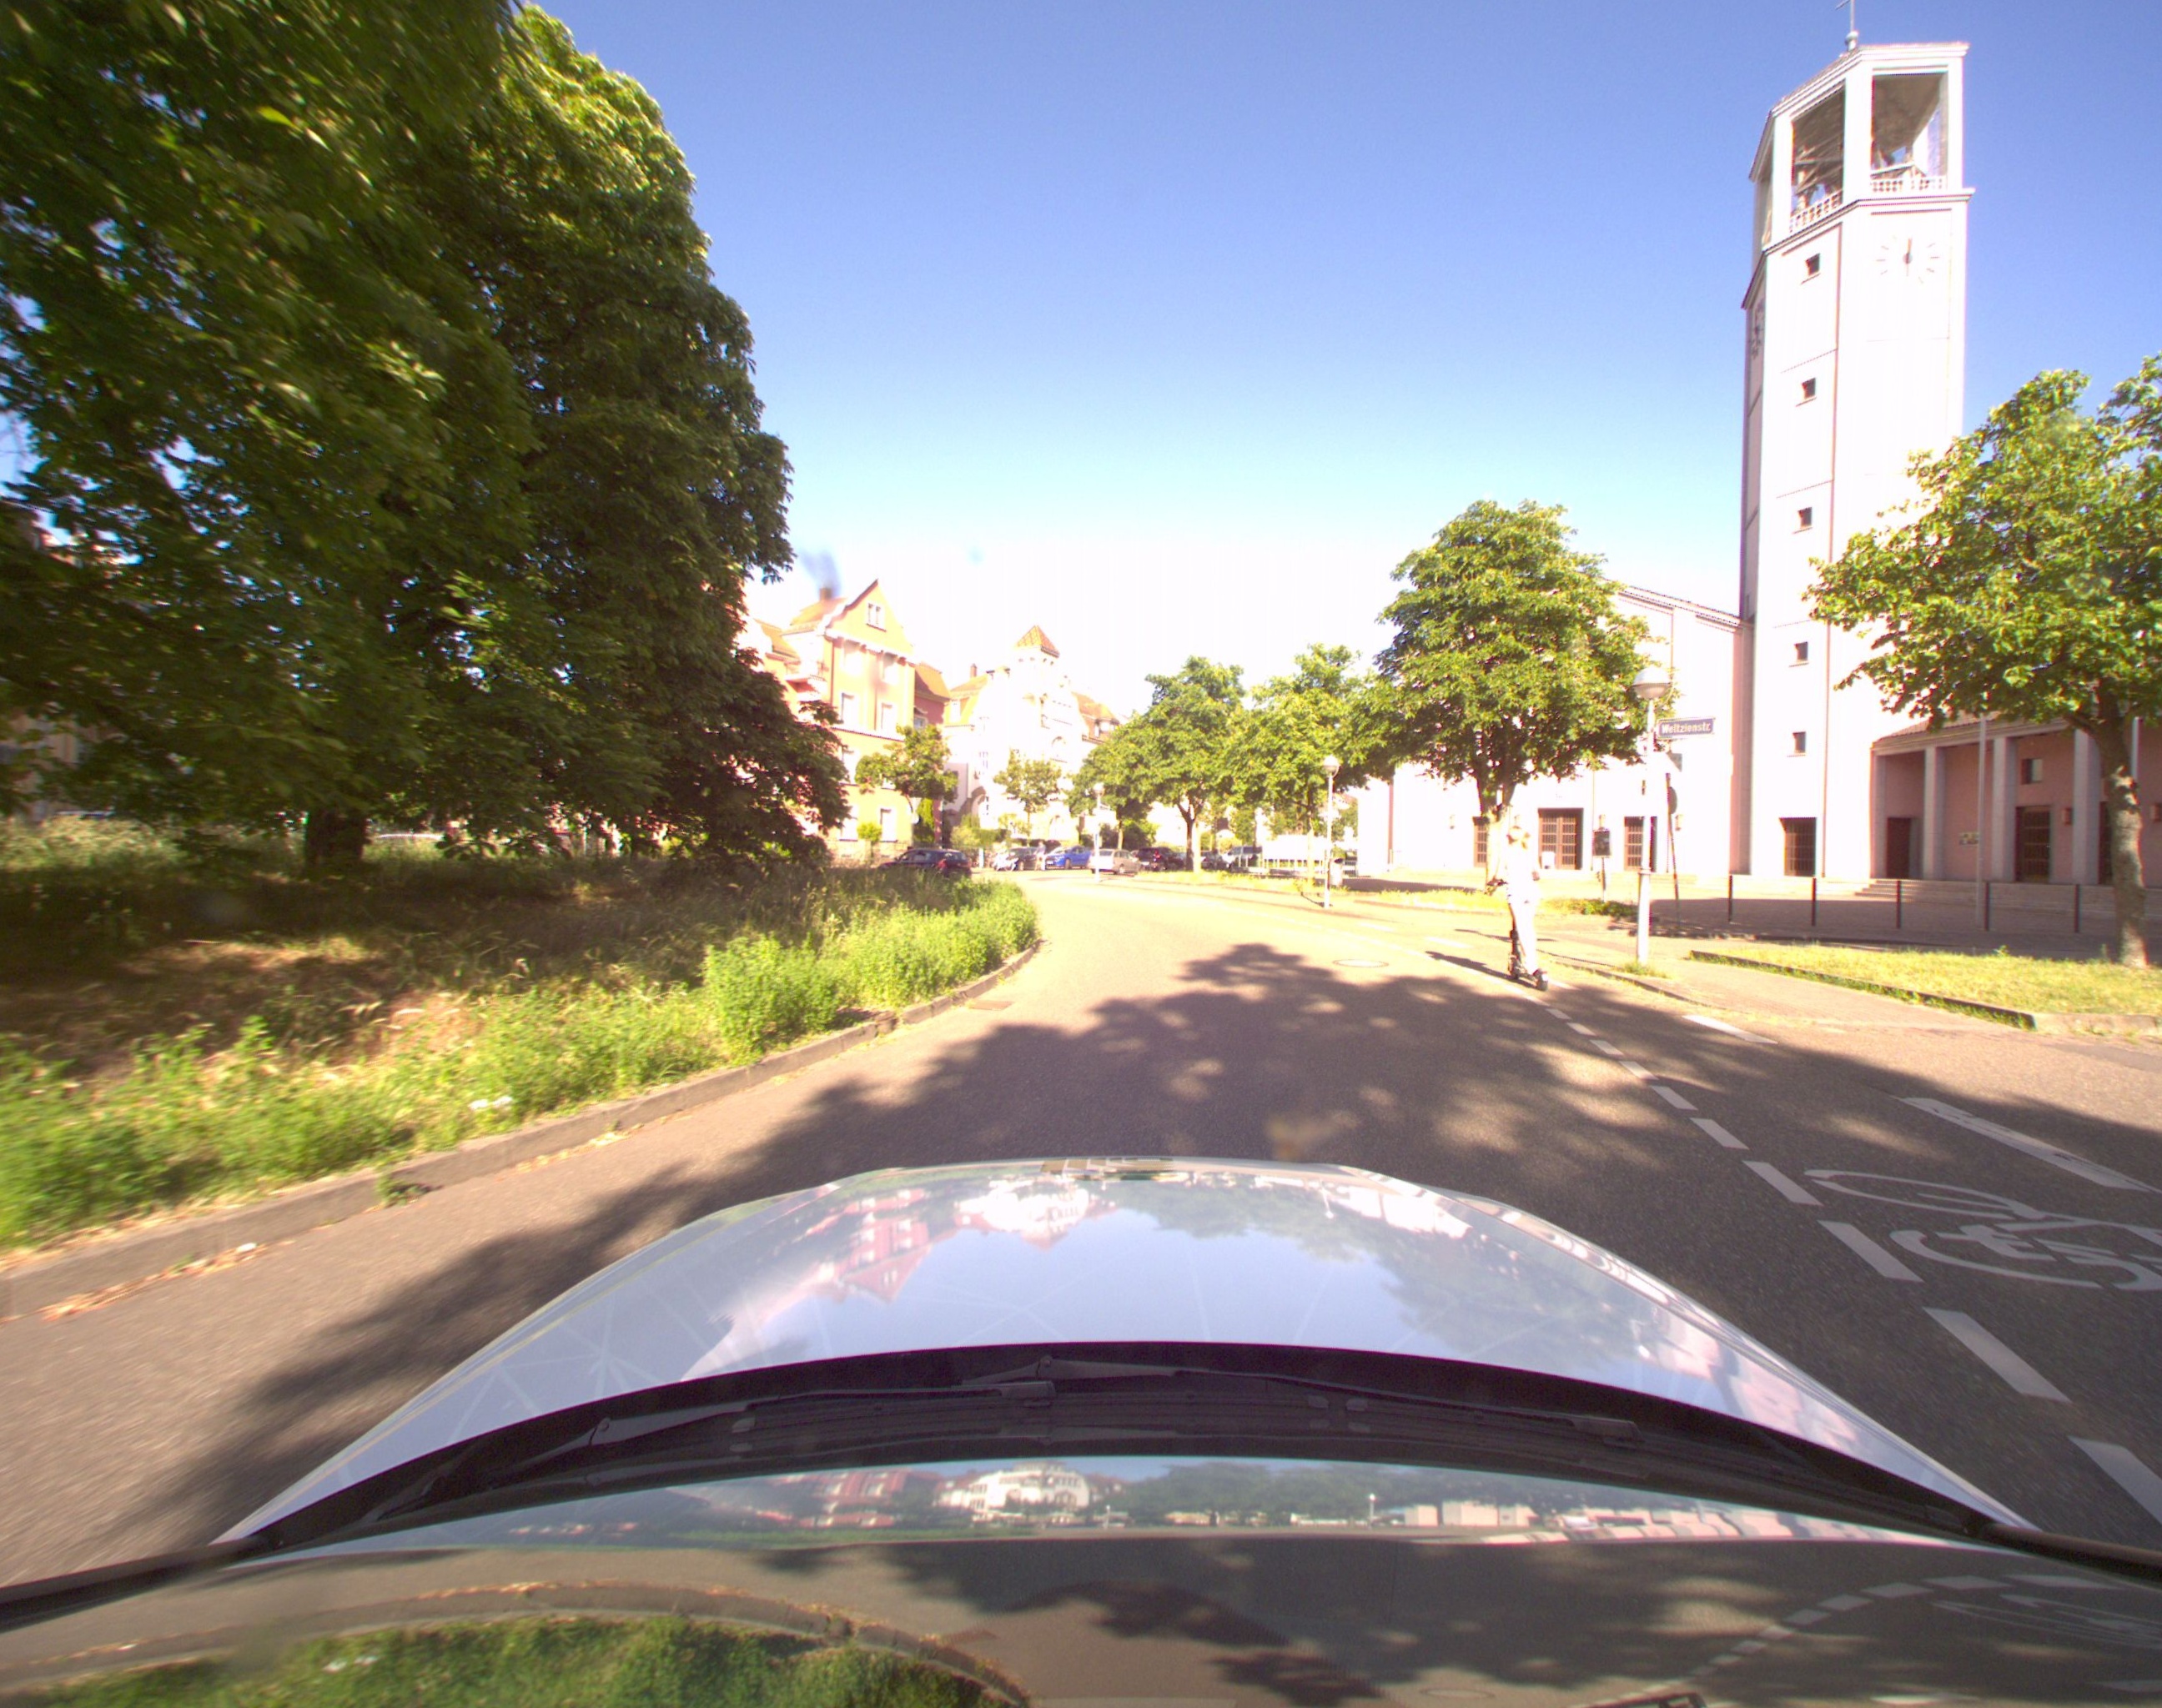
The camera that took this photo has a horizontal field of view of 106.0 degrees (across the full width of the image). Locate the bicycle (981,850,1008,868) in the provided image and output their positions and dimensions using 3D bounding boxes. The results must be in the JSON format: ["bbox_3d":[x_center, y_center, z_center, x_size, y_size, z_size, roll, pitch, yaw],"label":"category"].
[{"bbox_3d":[-5.686,0.325,53.442,1.705,1.107,0.519,3,1,26],"label":"bicycle"}]

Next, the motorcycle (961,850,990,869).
[{"bbox_3d":[-6.670,0.335,51.532,1.706,1.107,0.503,3,1,22],"label":"motorcycle"}]

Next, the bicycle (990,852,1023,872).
[{"bbox_3d":[-4.200,0.441,45.972,1.871,1.107,0.589,0,0,-36],"label":"bicycle"}]

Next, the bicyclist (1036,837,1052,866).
[{"bbox_3d":[-2.175,-0.140,48.113,0.638,1.714,0.727,1,0,28],"label":"bicyclist"}]

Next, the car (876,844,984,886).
[{"bbox_3d":[-5.528,0.379,29.623,3.950,1.419,1.882,0,0,43],"label":"car"}]

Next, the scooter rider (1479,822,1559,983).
[{"bbox_3d":[5.186,0.556,9.670,0.620,1.832,0.633,1,0,7],"label":"scooter rider"}]

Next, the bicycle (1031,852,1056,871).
[{"bbox_3d":[-2.224,0.422,48.085,0.638,1.107,1.727,1,0,29],"label":"bicycle"}]

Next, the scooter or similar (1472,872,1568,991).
[{"bbox_3d":[5.176,0.877,9.671,0.627,1.283,1.108,1,0,7],"label":"scooter or similar"}]

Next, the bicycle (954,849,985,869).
[{"bbox_3d":[-6.972,0.308,50.873,1.811,1.107,0.503,3,1,14],"label":"bicycle"}]

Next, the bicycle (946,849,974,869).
[{"bbox_3d":[-7.477,0.304,50.170,1.705,1.115,0.549,3,1,30],"label":"bicycle"}]

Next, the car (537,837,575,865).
[{"bbox_3d":[-29.692,-0.190,46.113,1.694,1.446,3.510,2,0,-32],"label":"car"}]

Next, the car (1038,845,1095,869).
[{"bbox_3d":[-0.935,0.204,55.071,1.787,1.561,4.426,-2,-1,29],"label":"car"}]

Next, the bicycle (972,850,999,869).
[{"bbox_3d":[-6.160,0.332,52.622,1.705,1.107,0.504,3,1,26],"label":"bicycle"}]

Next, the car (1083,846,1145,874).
[{"bbox_3d":[1.856,0.304,44.493,1.788,1.415,4.363,2,1,25],"label":"car"}]

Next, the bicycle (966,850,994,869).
[{"bbox_3d":[-6.484,0.331,52.050,1.706,1.107,0.503,3,1,22],"label":"bicycle"}]

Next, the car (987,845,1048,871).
[{"bbox_3d":[-3.855,0.226,50.050,1.787,1.483,4.363,-1,-1,24],"label":"car"}]

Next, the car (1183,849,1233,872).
[{"bbox_3d":[8.777,0.428,56.006,1.786,1.474,4.366,2,1,33],"label":"car"}]

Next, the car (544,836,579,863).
[{"bbox_3d":[-32.214,-0.301,50.539,1.694,1.562,4.252,2,0,-32],"label":"car"}]

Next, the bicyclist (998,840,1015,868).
[{"bbox_3d":[-4.216,-0.005,45.957,0.807,1.581,0.590,0,0,-30],"label":"bicyclist"}]

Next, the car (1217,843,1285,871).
[{"bbox_3d":[13.086,0.233,62.766,4.721,2.001,1.820,2,0,25],"label":"car"}]

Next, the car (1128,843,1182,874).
[{"bbox_3d":[4.488,0.258,48.878,1.787,1.728,4.363,2,1,25],"label":"car"}]
